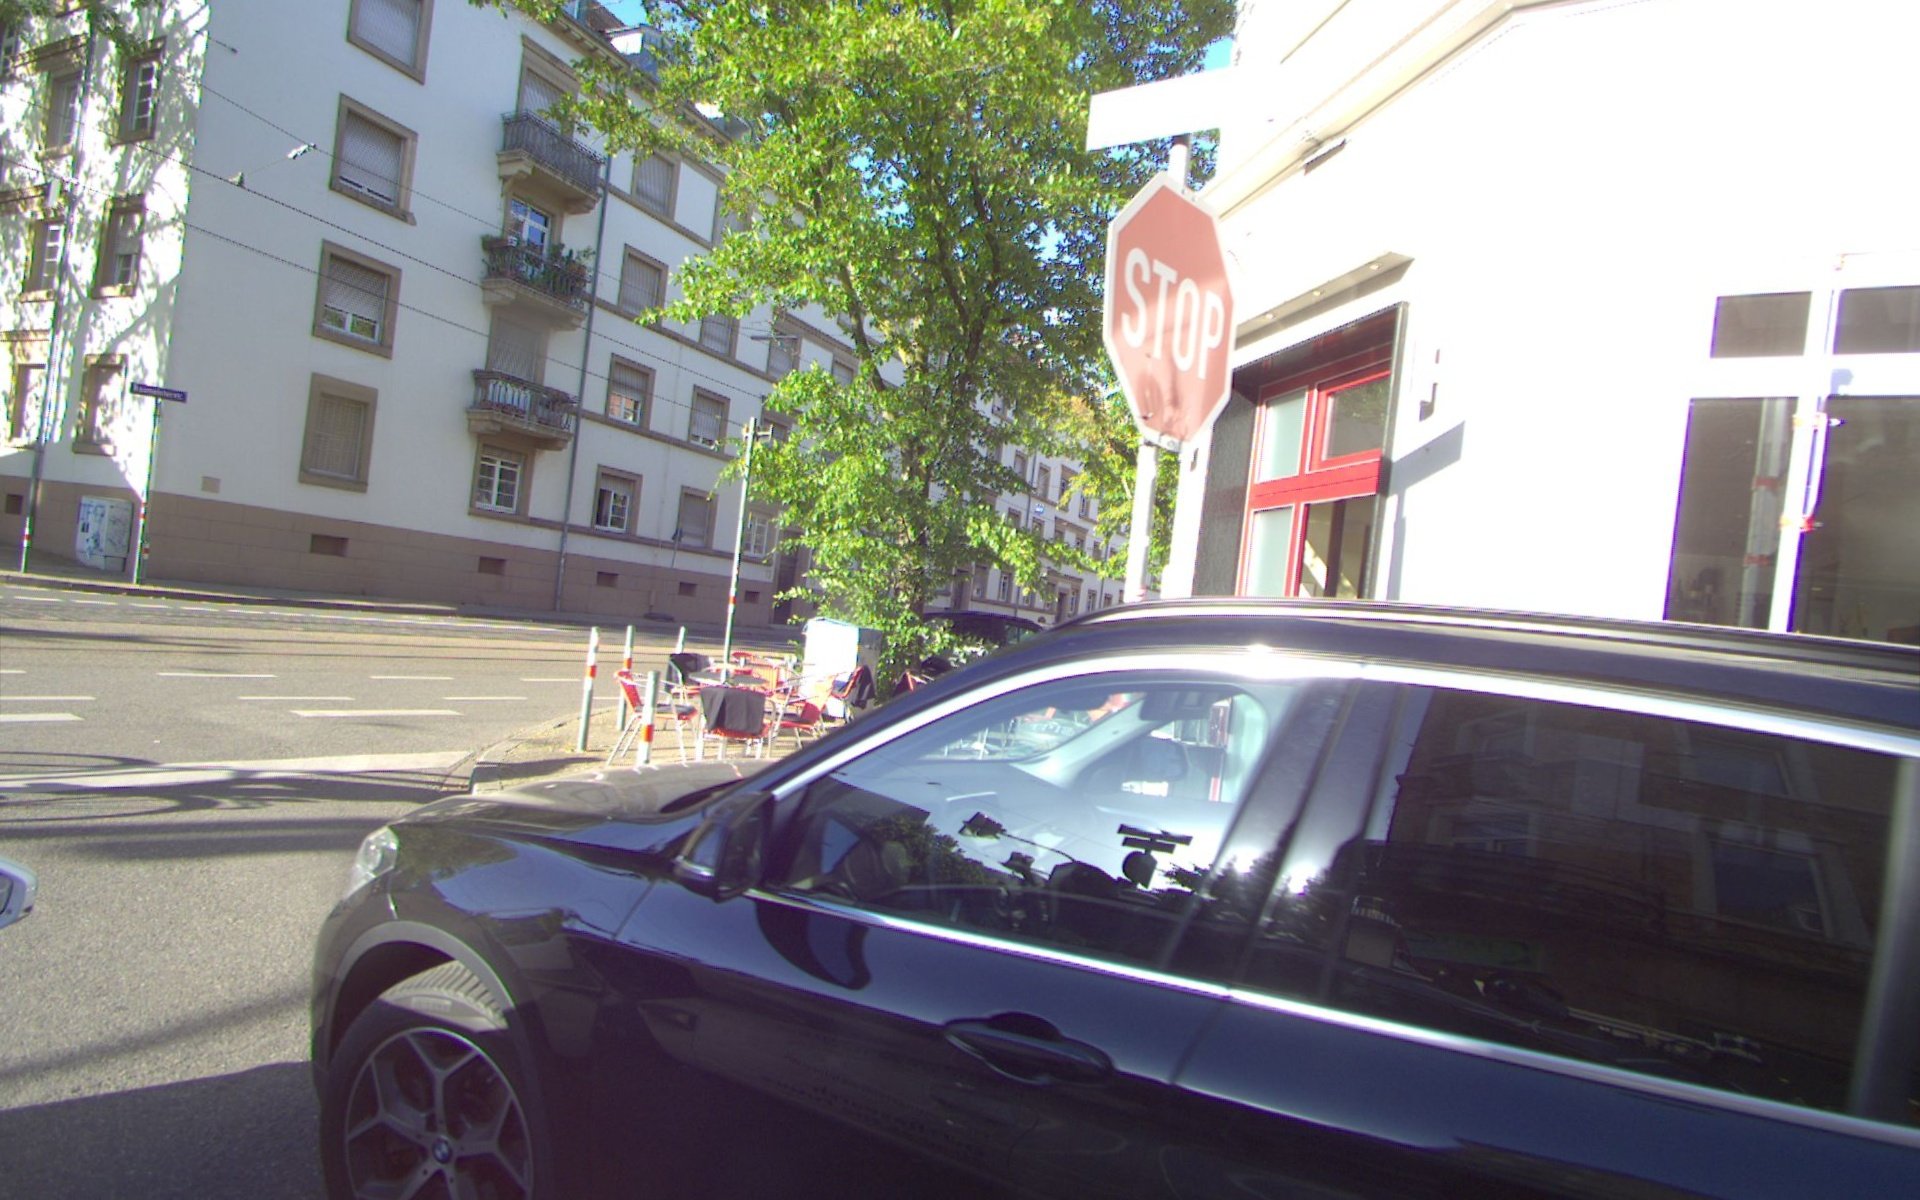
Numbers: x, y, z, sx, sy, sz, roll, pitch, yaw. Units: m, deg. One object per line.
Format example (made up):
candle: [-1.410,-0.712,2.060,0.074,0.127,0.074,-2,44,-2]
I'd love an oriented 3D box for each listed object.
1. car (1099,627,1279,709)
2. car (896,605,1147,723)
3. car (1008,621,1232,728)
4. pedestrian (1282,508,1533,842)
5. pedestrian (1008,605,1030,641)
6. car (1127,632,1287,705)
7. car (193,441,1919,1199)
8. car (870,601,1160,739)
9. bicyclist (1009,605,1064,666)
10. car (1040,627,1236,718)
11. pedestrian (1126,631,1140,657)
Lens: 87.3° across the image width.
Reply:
car: [5.587,1.632,24.781,4.056,1.507,1.620,6,0,13]
car: [0.996,1.090,17.594,4.062,1.575,1.618,6,0,-6]
car: [3.097,1.403,19.807,4.056,1.575,1.621,6,0,8]
pedestrian: [2.692,0.436,6.140,0.838,1.822,0.862,7,1,-15]
pedestrian: [3.195,1.264,54.634,0.725,1.860,0.696,8,1,26]
car: [6.919,1.868,28.167,4.060,1.507,1.619,6,0,22]
car: [0.531,0.775,1.963,4.128,1.681,1.763,7,-2,32]
car: [0.827,1.011,15.361,4.057,1.575,1.620,6,0,3]
bicyclist: [2.053,0.962,26.804,0.886,1.472,1.262,8,0,27]
car: [3.981,1.577,22.532,4.057,1.507,1.620,6,0,14]
pedestrian: [13.114,3.311,76.243,0.725,1.860,0.696,8,1,26]
